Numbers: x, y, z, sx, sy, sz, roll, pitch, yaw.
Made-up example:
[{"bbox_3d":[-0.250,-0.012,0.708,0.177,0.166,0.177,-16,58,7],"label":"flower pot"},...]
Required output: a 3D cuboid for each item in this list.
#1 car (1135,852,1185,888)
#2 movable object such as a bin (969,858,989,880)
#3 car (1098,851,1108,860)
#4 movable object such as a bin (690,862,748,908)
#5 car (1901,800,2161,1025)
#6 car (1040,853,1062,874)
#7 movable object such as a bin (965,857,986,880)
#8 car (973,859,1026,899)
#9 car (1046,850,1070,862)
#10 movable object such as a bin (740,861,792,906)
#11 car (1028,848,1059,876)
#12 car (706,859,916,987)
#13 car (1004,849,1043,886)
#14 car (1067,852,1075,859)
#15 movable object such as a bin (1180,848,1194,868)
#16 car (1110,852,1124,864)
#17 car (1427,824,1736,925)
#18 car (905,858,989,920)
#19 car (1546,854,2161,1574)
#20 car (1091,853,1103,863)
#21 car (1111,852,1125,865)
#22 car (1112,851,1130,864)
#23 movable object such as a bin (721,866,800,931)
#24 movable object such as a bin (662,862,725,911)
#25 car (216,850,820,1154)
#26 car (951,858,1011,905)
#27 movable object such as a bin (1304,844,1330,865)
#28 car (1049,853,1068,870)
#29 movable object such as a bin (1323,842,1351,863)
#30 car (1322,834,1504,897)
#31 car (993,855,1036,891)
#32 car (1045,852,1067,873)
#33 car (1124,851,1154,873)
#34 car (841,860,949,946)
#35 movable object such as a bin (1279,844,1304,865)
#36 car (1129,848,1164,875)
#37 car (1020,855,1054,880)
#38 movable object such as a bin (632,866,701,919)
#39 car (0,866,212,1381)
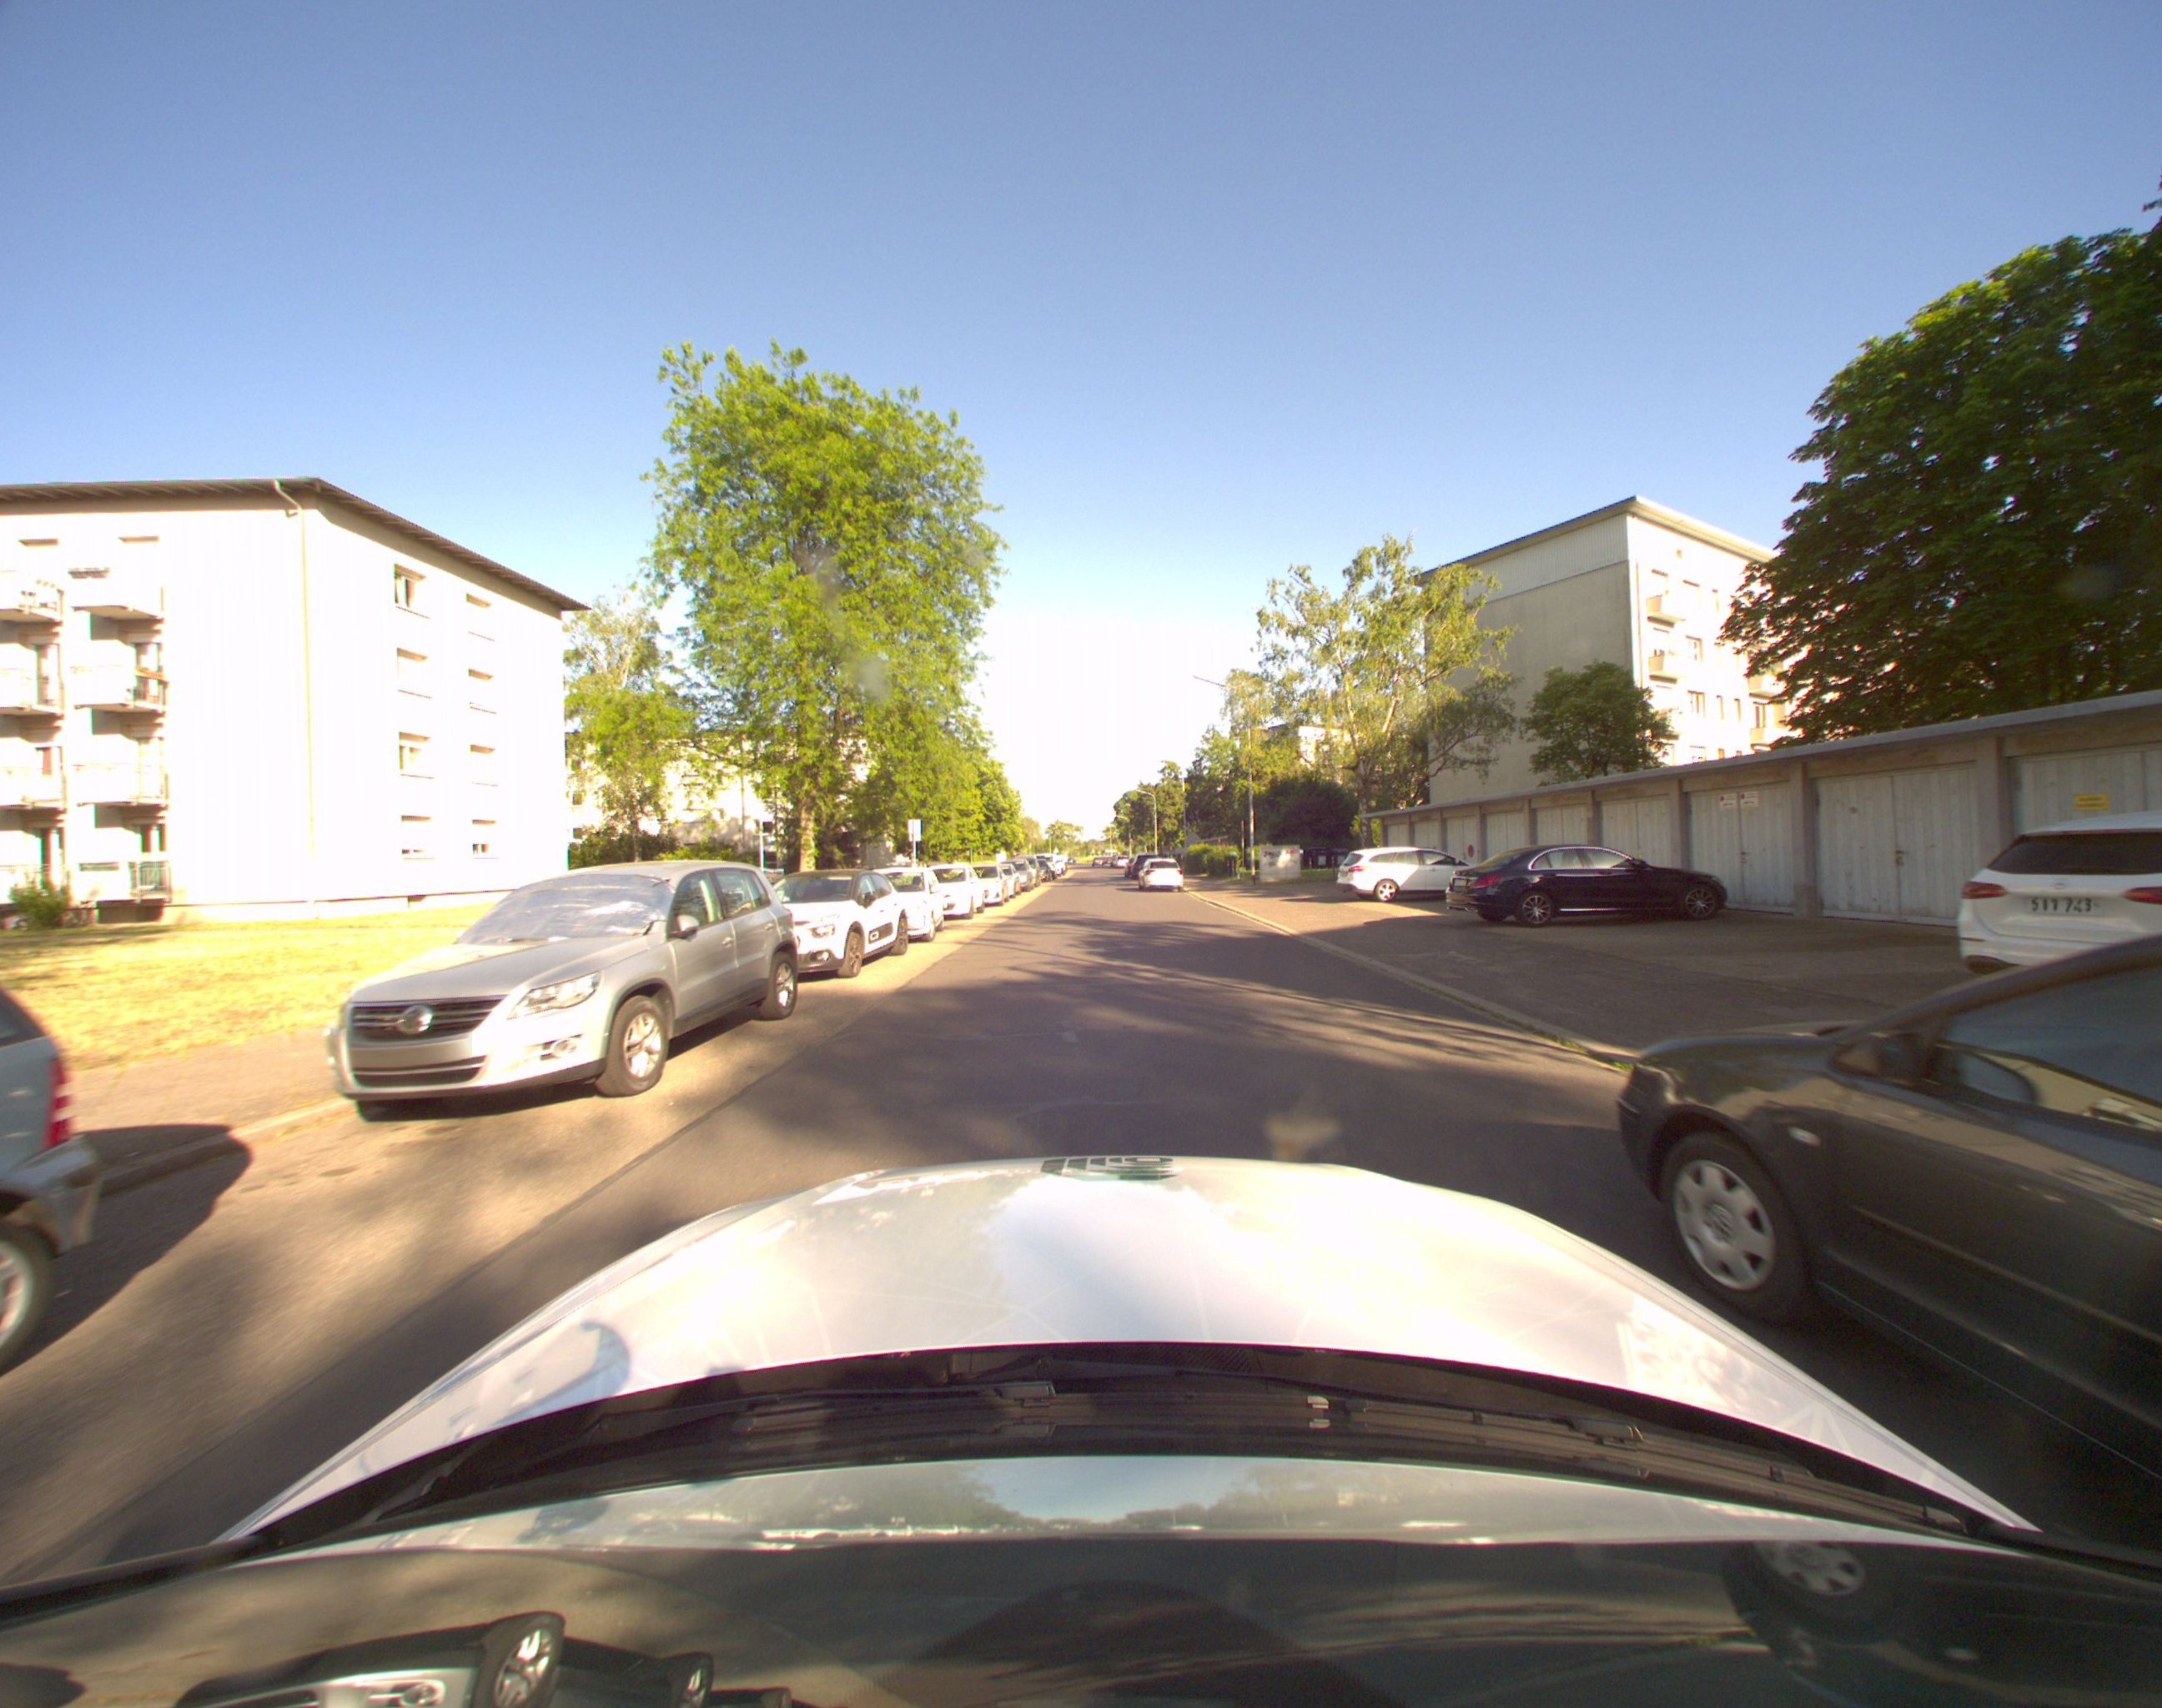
[{"bbox_3d":[3.472,0.664,36.356,1.748,1.513,4.102,0,0,-1],"label":"car"},{"bbox_3d":[-6.670,0.962,53.166,1.097,1.371,1.361,1,0,1],"label":"movable object such as a bin"},{"bbox_3d":[4.123,0.318,153.811,1.791,1.548,3.949,-1,0,-1],"label":"car"},{"bbox_3d":[-11.697,0.979,26.363,1.173,1.420,1.463,1,0,3],"label":"movable object such as a bin"},{"bbox_3d":[9.202,0.297,6.304,3.933,1.513,1.827,-3,0,-2],"label":"car"},{"bbox_3d":[-2.513,0.764,69.765,1.742,1.669,4.375,-3,0,-2],"label":"car"},{"bbox_3d":[-6.671,0.920,51.695,1.097,1.420,1.361,1,0,1],"label":"movable object such as a bin"},{"bbox_3d":[-3.430,1.016,34.941,1.681,1.465,4.525,-4,0,0],"label":"car"},{"bbox_3d":[-4.002,0.374,140.942,4.046,1.992,1.799,-1,0,-4],"label":"car"},{"bbox_3d":[-10.398,0.958,26.932,1.130,1.420,1.362,1,0,2],"label":"movable object such as a bin"},{"bbox_3d":[-2.762,0.598,61.739,1.908,1.962,5.089,-3,0,1],"label":"car"},{"bbox_3d":[-3.841,0.894,12.337,1.656,1.513,3.947,-3,0,2],"label":"car"},{"bbox_3d":[-3.218,0.722,46.317,1.849,1.892,4.416,-3,0,-1],"label":"car"},{"bbox_3d":[-2.356,0.356,194.977,1.791,1.561,3.949,-1,0,-1],"label":"car"},{"bbox_3d":[8.219,0.317,63.326,0.914,1.454,1.233,-2,0,1],"label":"movable object such as a bin"},{"bbox_3d":[5.198,0.564,118.979,1.791,1.643,3.949,-1,0,-1],"label":"car"},{"bbox_3d":[9.020,0.352,14.973,4.496,1.513,1.830,-3,0,2],"label":"car"},{"bbox_3d":[-3.753,0.929,23.492,1.681,1.535,3.891,-3,0,0],"label":"car"},{"bbox_3d":[2.988,0.712,1.720,1.727,1.403,3.893,0,0,-1],"label":"car"},{"bbox_3d":[2.516,0.606,127.419,1.675,1.513,4.102,0,0,-1],"label":"car"},{"bbox_3d":[5.165,0.597,114.405,1.791,1.786,3.949,-1,0,-1],"label":"car"},{"bbox_3d":[4.808,0.440,98.546,1.791,1.561,3.949,-1,0,-1],"label":"car"},{"bbox_3d":[-7.110,0.964,18.157,1.173,1.340,1.344,1,0,2],"label":"movable object such as a bin"},{"bbox_3d":[-11.793,0.973,24.843,1.173,1.420,1.463,1,0,3],"label":"movable object such as a bin"},{"bbox_3d":[-3.906,0.839,6.818,1.896,1.639,4.349,-3,0,1],"label":"car"},{"bbox_3d":[-3.536,0.930,29.388,1.681,1.505,3.816,-3,0,-1],"label":"car"},{"bbox_3d":[15.369,0.036,53.051,1.254,1.353,1.275,-1,0,-8],"label":"movable object such as a bin"},{"bbox_3d":[-2.316,0.748,85.090,1.740,1.613,4.308,-3,0,1],"label":"car"},{"bbox_3d":[16.816,-0.085,53.547,1.255,1.353,1.275,-1,0,-10],"label":"movable object such as a bin"},{"bbox_3d":[9.340,0.317,23.179,4.399,1.513,1.829,-3,0,1],"label":"car"},{"bbox_3d":[-3.216,0.887,40.194,1.704,1.600,3.984,-4,0,-1],"label":"car"},{"bbox_3d":[-2.328,0.765,75.433,1.740,1.732,4.006,-3,0,1],"label":"car"},{"bbox_3d":[4.108,0.555,58.313,1.901,1.531,4.328,-1,0,1],"label":"car"},{"bbox_3d":[-3.768,0.923,17.019,1.660,1.513,3.531,-3,0,-5],"label":"car"},{"bbox_3d":[13.663,0.020,52.938,1.250,1.353,1.279,-1,0,0],"label":"movable object such as a bin"},{"bbox_3d":[4.164,0.466,52.424,1.901,1.639,4.629,-1,0,1],"label":"car"},{"bbox_3d":[-2.933,0.898,55.199,1.739,1.533,4.142,-3,0,3],"label":"car"},{"bbox_3d":[-11.830,1.071,23.295,1.173,1.420,1.463,1,0,3],"label":"movable object such as a bin"},{"bbox_3d":[-4.243,0.894,1.396,1.630,1.606,3.534,-3,0,0],"label":"car"}]
